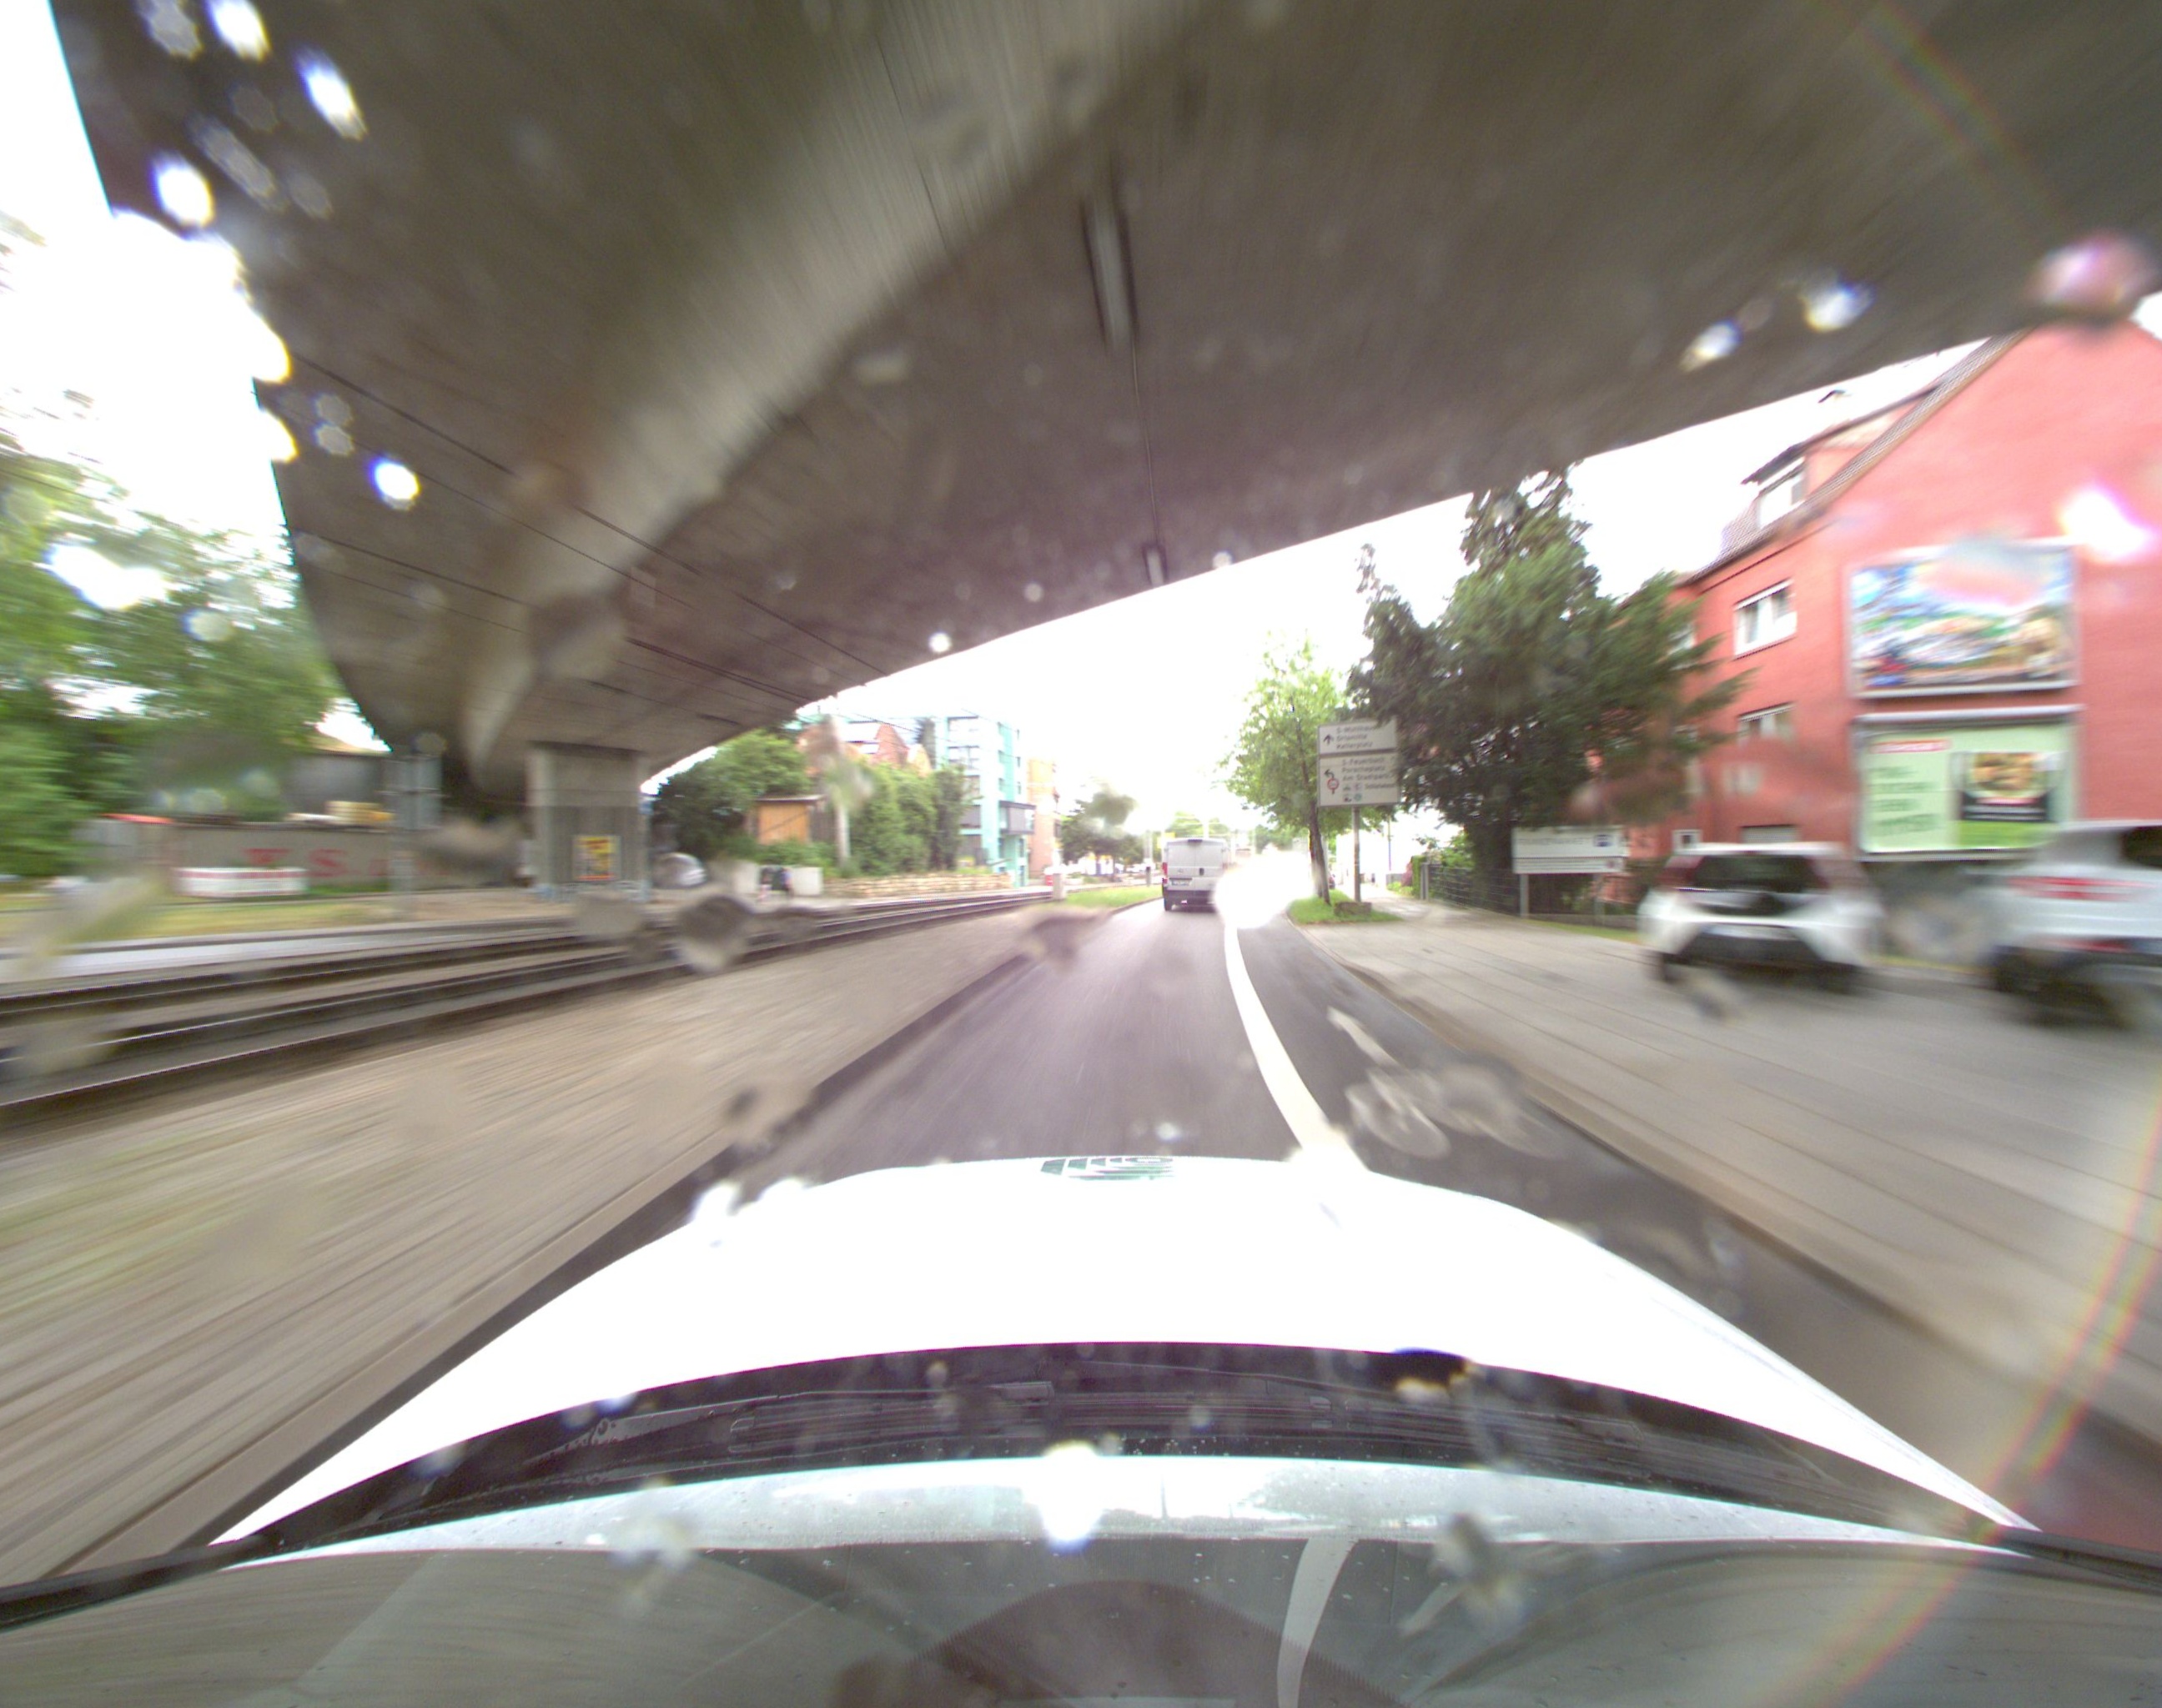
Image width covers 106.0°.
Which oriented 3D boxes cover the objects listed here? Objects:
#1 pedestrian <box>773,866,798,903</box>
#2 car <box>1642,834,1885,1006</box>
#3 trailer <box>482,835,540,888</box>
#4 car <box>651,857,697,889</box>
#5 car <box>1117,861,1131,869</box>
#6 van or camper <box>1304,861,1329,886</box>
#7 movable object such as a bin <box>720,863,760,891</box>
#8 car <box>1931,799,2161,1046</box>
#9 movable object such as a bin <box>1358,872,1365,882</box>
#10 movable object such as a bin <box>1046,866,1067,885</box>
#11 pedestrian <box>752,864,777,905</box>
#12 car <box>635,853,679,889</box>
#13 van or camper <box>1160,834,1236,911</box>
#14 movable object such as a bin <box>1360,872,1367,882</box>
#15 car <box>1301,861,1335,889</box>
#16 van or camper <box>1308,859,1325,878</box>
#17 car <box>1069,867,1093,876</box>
[{"bbox_3d":[-13.639,1.381,37.591,0.688,1.670,0.892,0,0,17],"label":"pedestrian"},{"bbox_3d":[7.733,0.587,9.178,1.780,1.522,3.758,0,0,43],"label":"car"},{"bbox_3d":[-30.540,0.413,43.598,2.011,2.725,4.073,1,-1,-43],"label":"trailer"},{"bbox_3d":[-23.016,1.057,46.030,1.727,1.667,3.163,2,0,-37],"label":"car"},{"bbox_3d":[8.171,2.114,154.228,1.980,1.442,4.013,1,-1,12],"label":"car"},{"bbox_3d":[18.805,1.562,65.174,1.837,1.920,5.014,-1,-2,15],"label":"van or camper"},{"bbox_3d":[-19.179,1.291,45.764,1.570,1.479,1.781,1,1,-40],"label":"movable object such as a bin"},{"bbox_3d":[8.634,0.453,6.768,1.942,1.631,4.048,0,0,43],"label":"car"},{"bbox_3d":[25.107,2.077,72.877,0.582,0.879,0.449,-1,-2,14],"label":"movable object such as a bin"},{"bbox_3d":[-2.801,2.489,94.309,2.123,2.157,1.805,1,0,6],"label":"movable object such as a bin"},{"bbox_3d":[-14.587,1.394,37.595,0.688,1.831,0.870,0,0,15],"label":"pedestrian"},{"bbox_3d":[-26.068,1.005,50.016,1.806,2.039,3.163,2,0,-37],"label":"car"},{"bbox_3d":[3.920,0.595,26.548,2.185,2.253,4.698,1,-1,11],"label":"van or camper"},{"bbox_3d":[25.117,2.055,72.389,0.582,0.879,0.449,-1,-2,14],"label":"movable object such as a bin"},{"bbox_3d":[12.815,1.123,43.969,1.664,1.423,4.584,0,-1,16],"label":"car"},{"bbox_3d":[32.249,1.934,111.632,1.979,2.563,6.066,1,0,15],"label":"van or camper"},{"bbox_3d":[-0.021,2.877,136.611,3.766,1.453,1.546,0,0,-11],"label":"car"}]
